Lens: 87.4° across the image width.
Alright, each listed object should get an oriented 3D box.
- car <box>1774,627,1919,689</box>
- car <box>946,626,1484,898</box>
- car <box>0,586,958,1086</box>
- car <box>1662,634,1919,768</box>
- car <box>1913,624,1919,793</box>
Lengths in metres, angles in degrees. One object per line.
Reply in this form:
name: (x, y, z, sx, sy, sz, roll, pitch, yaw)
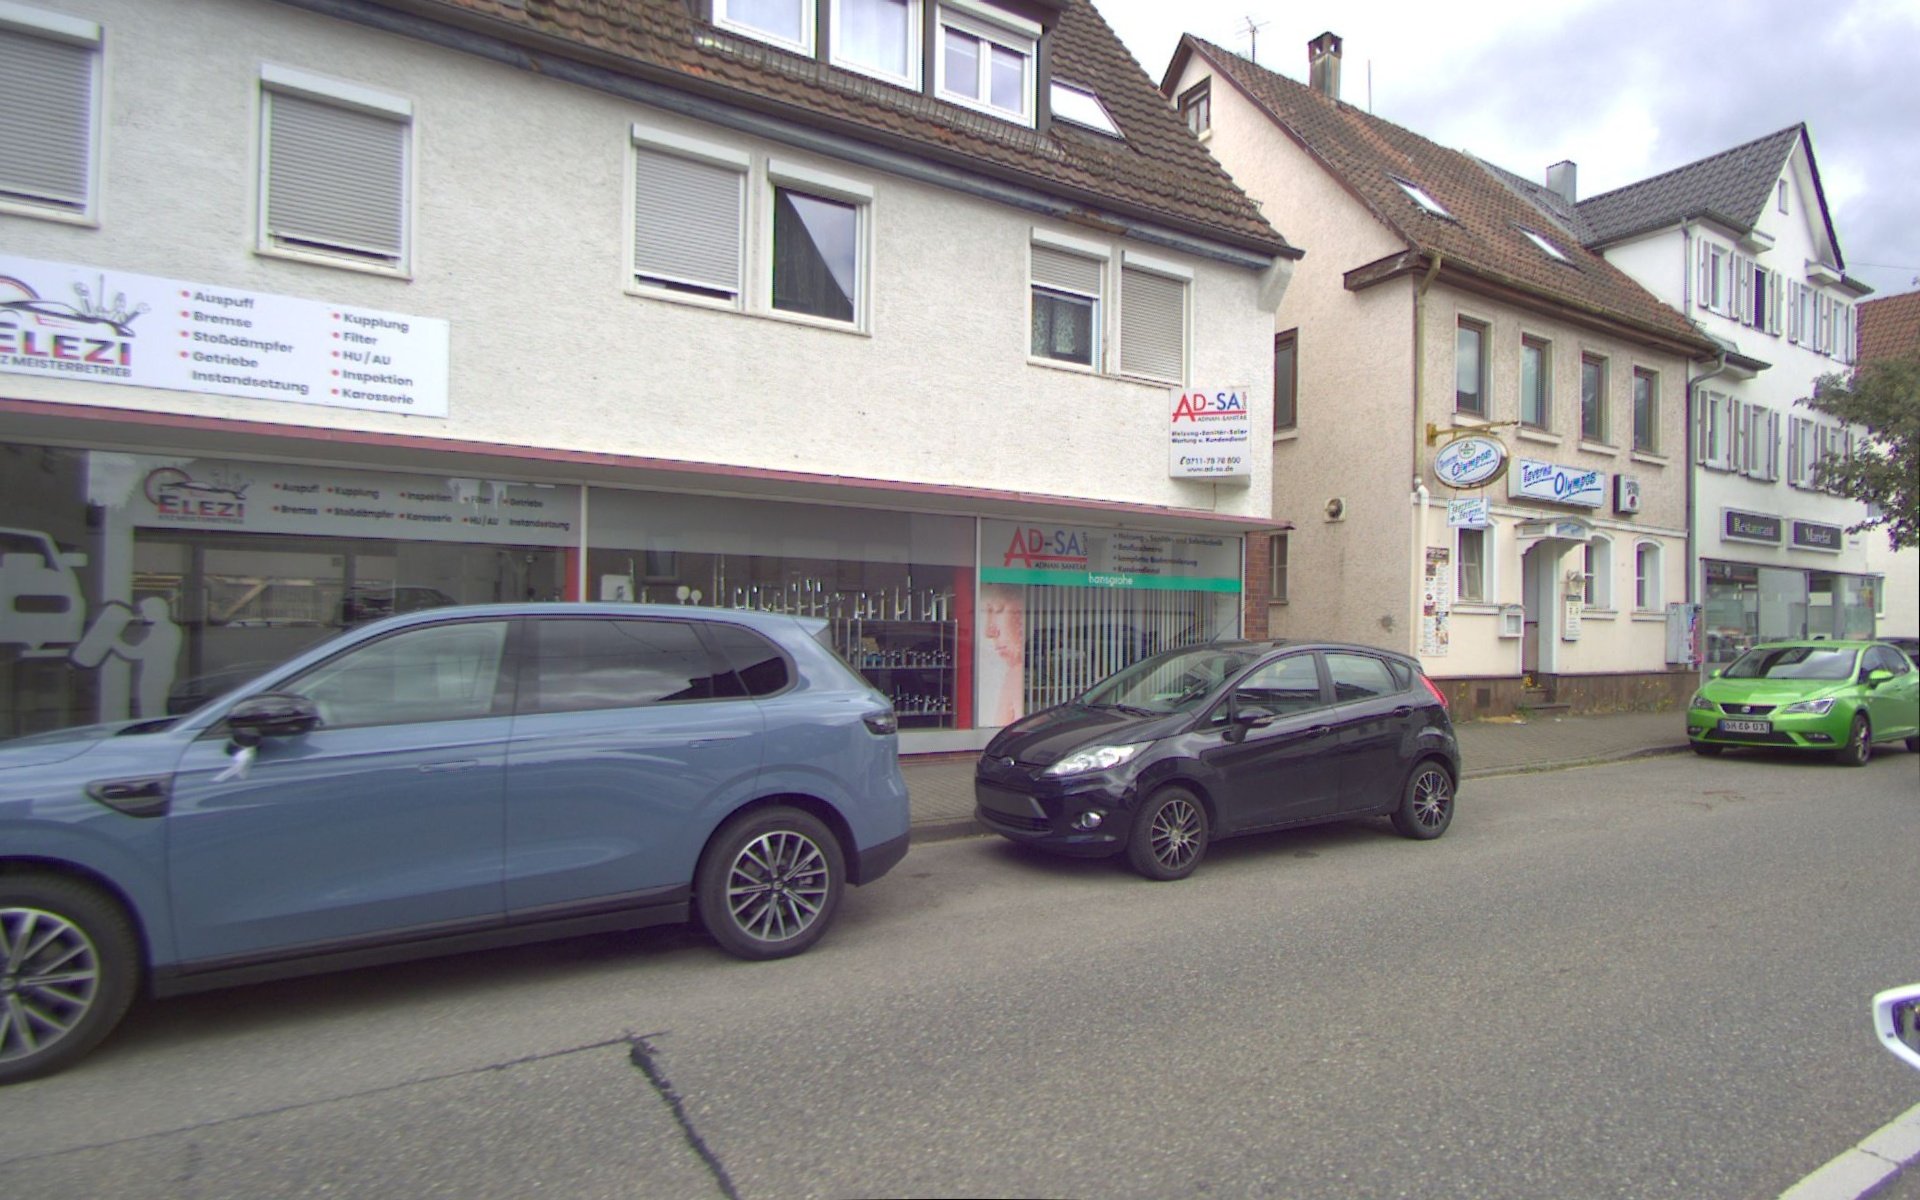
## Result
car: (25.744, 1.619, 28.361, 1.716, 1.555, 3.965, 2, 0, -32)
car: (1.909, 0.993, 7.297, 3.767, 1.527, 1.575, 2, -3, -30)
car: (-2.291, 0.833, 4.757, 4.251, 1.620, 1.796, 1, -3, -29)
car: (10.787, 1.183, 12.777, 3.977, 1.466, 1.673, 2, -3, -33)
car: (11.280, 1.031, 9.790, 4.143, 1.599, 1.786, 1, -3, -30)
